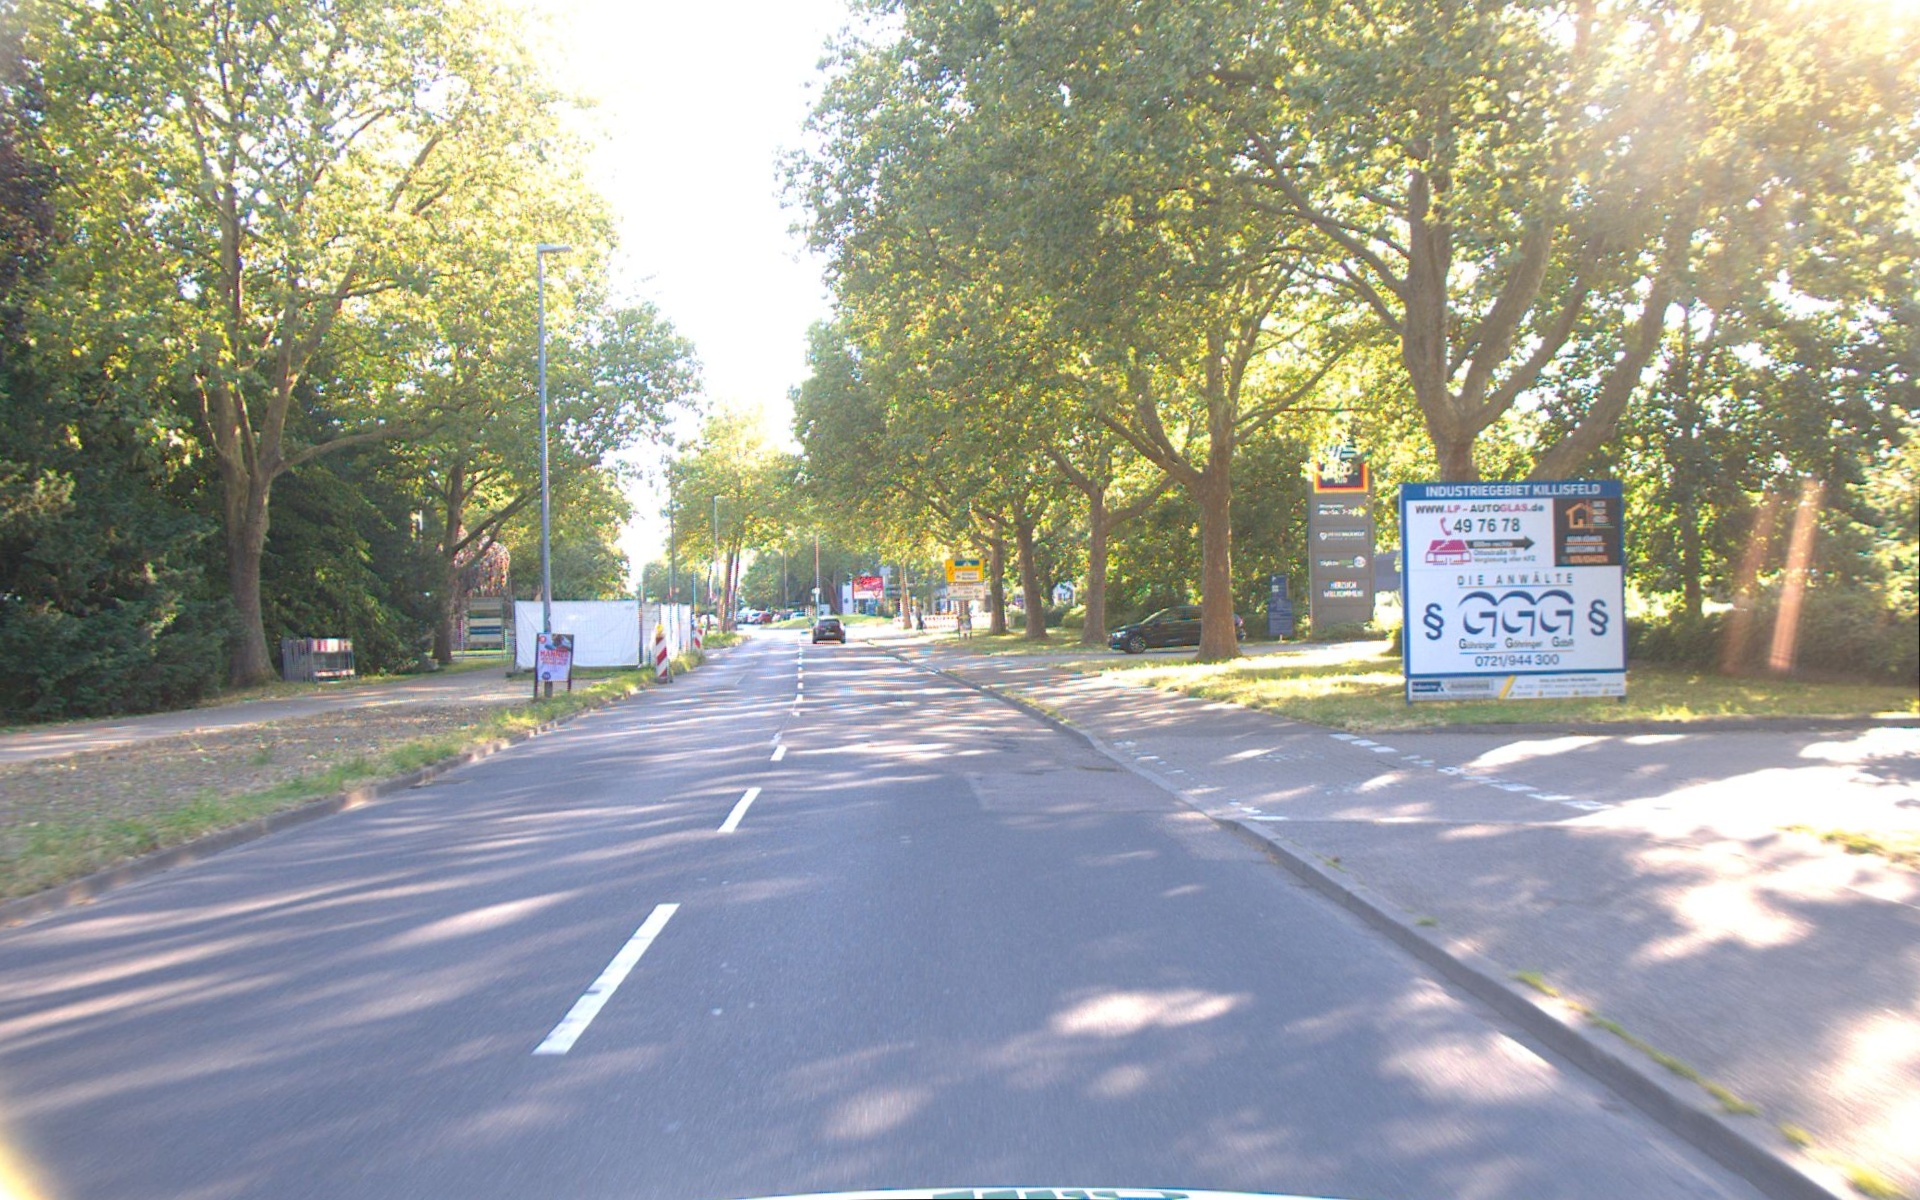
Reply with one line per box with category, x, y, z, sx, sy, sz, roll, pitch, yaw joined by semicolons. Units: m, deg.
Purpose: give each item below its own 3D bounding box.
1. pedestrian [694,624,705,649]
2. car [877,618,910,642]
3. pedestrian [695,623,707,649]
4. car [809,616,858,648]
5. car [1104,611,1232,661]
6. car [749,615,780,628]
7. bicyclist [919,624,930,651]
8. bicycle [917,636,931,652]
pedestrian;-17.831;2.505;113.179;0.620;1.666;0.576;-1;-1;-5
car;-5.851;2.613;145.881;1.951;2.049;4.003;-2;0;11
pedestrian;-17.839;2.492;114.028;0.733;1.769;0.851;-1;-1;-4
car;-6.827;1.747;89.600;1.800;1.633;3.865;-3;-1;8
car;6.840;1.172;54.636;3.907;1.468;1.759;-2;-1;-3
car;-27.012;2.995;228.660;3.954;1.777;1.773;0;-1;-36
bicyclist;-2.327;2.427;108.115;0.638;1.735;0.870;0;-1;-5
bicycle;-2.351;2.887;108.087;0.755;0.981;2.171;-3;-1;-6
